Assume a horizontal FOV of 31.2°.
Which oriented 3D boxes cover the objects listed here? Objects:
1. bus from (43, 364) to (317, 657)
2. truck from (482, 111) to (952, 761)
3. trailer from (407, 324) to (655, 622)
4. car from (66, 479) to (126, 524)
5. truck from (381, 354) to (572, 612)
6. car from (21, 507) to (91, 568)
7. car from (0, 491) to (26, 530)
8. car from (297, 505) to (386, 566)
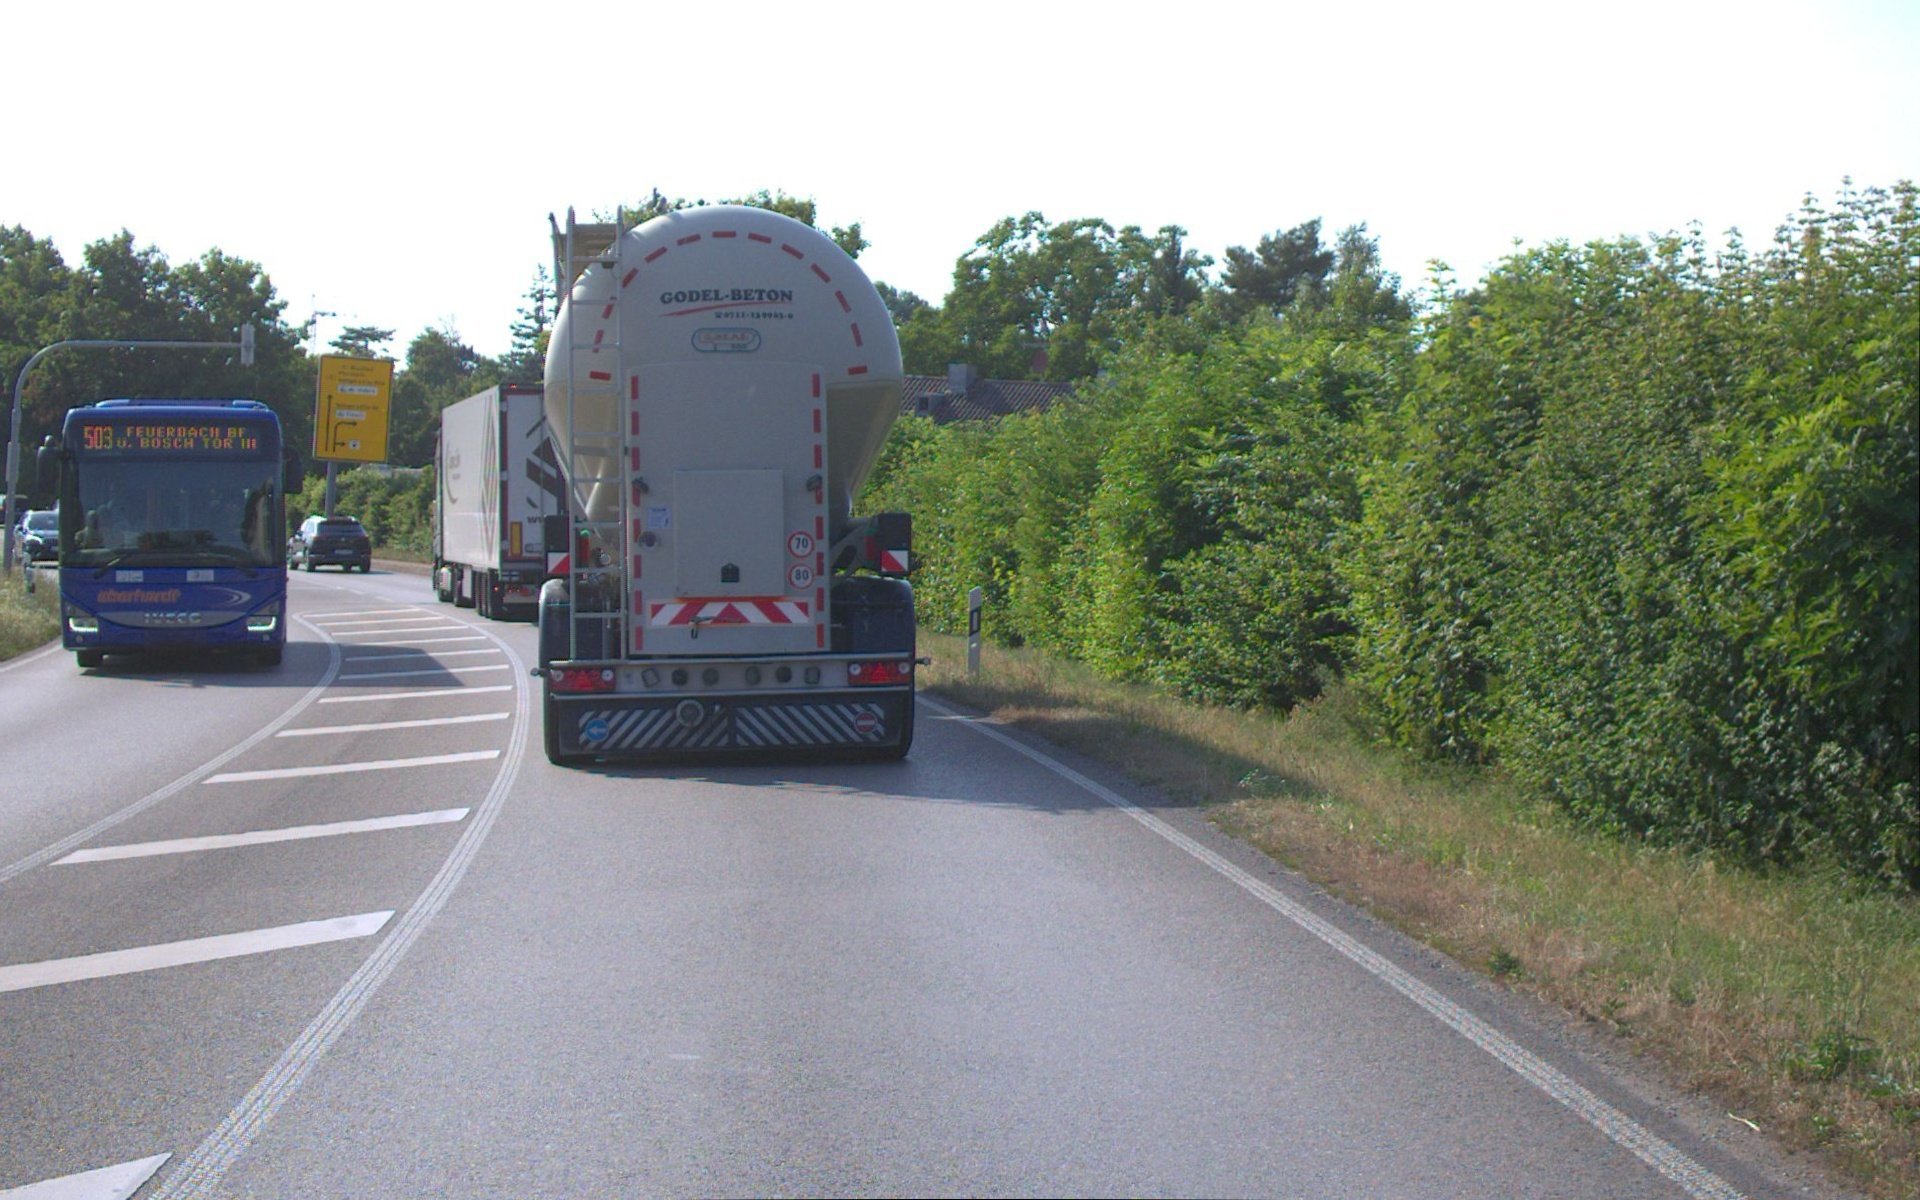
[{"bbox_3d":[-9.717,-1.011,43.902,2.793,3.170,12.130,1,0,-10],"label":"bus"},{"bbox_3d":[-2.023,-1.075,28.125,2.975,4.161,11.664,1,0,-4],"label":"truck"},{"bbox_3d":[-7.892,-2.127,61.925,2.963,4.865,10.291,1,0,-15],"label":"trailer"},{"bbox_3d":[-34.302,-3.892,136.411,1.840,1.650,4.001,1,0,-20],"label":"car"},{"bbox_3d":[-9.775,-2.251,68.967,2.962,4.870,6.432,1,0,-15],"label":"truck"},{"bbox_3d":[-25.651,-1.742,97.571,1.840,1.650,4.001,1,0,-15],"label":"car"},{"bbox_3d":[-42.107,-3.929,151.444,1.519,1.650,3.873,1,0,-20],"label":"car"},{"bbox_3d":[-17.481,-1.801,96.996,1.993,1.650,4.001,1,0,-17],"label":"car"}]
